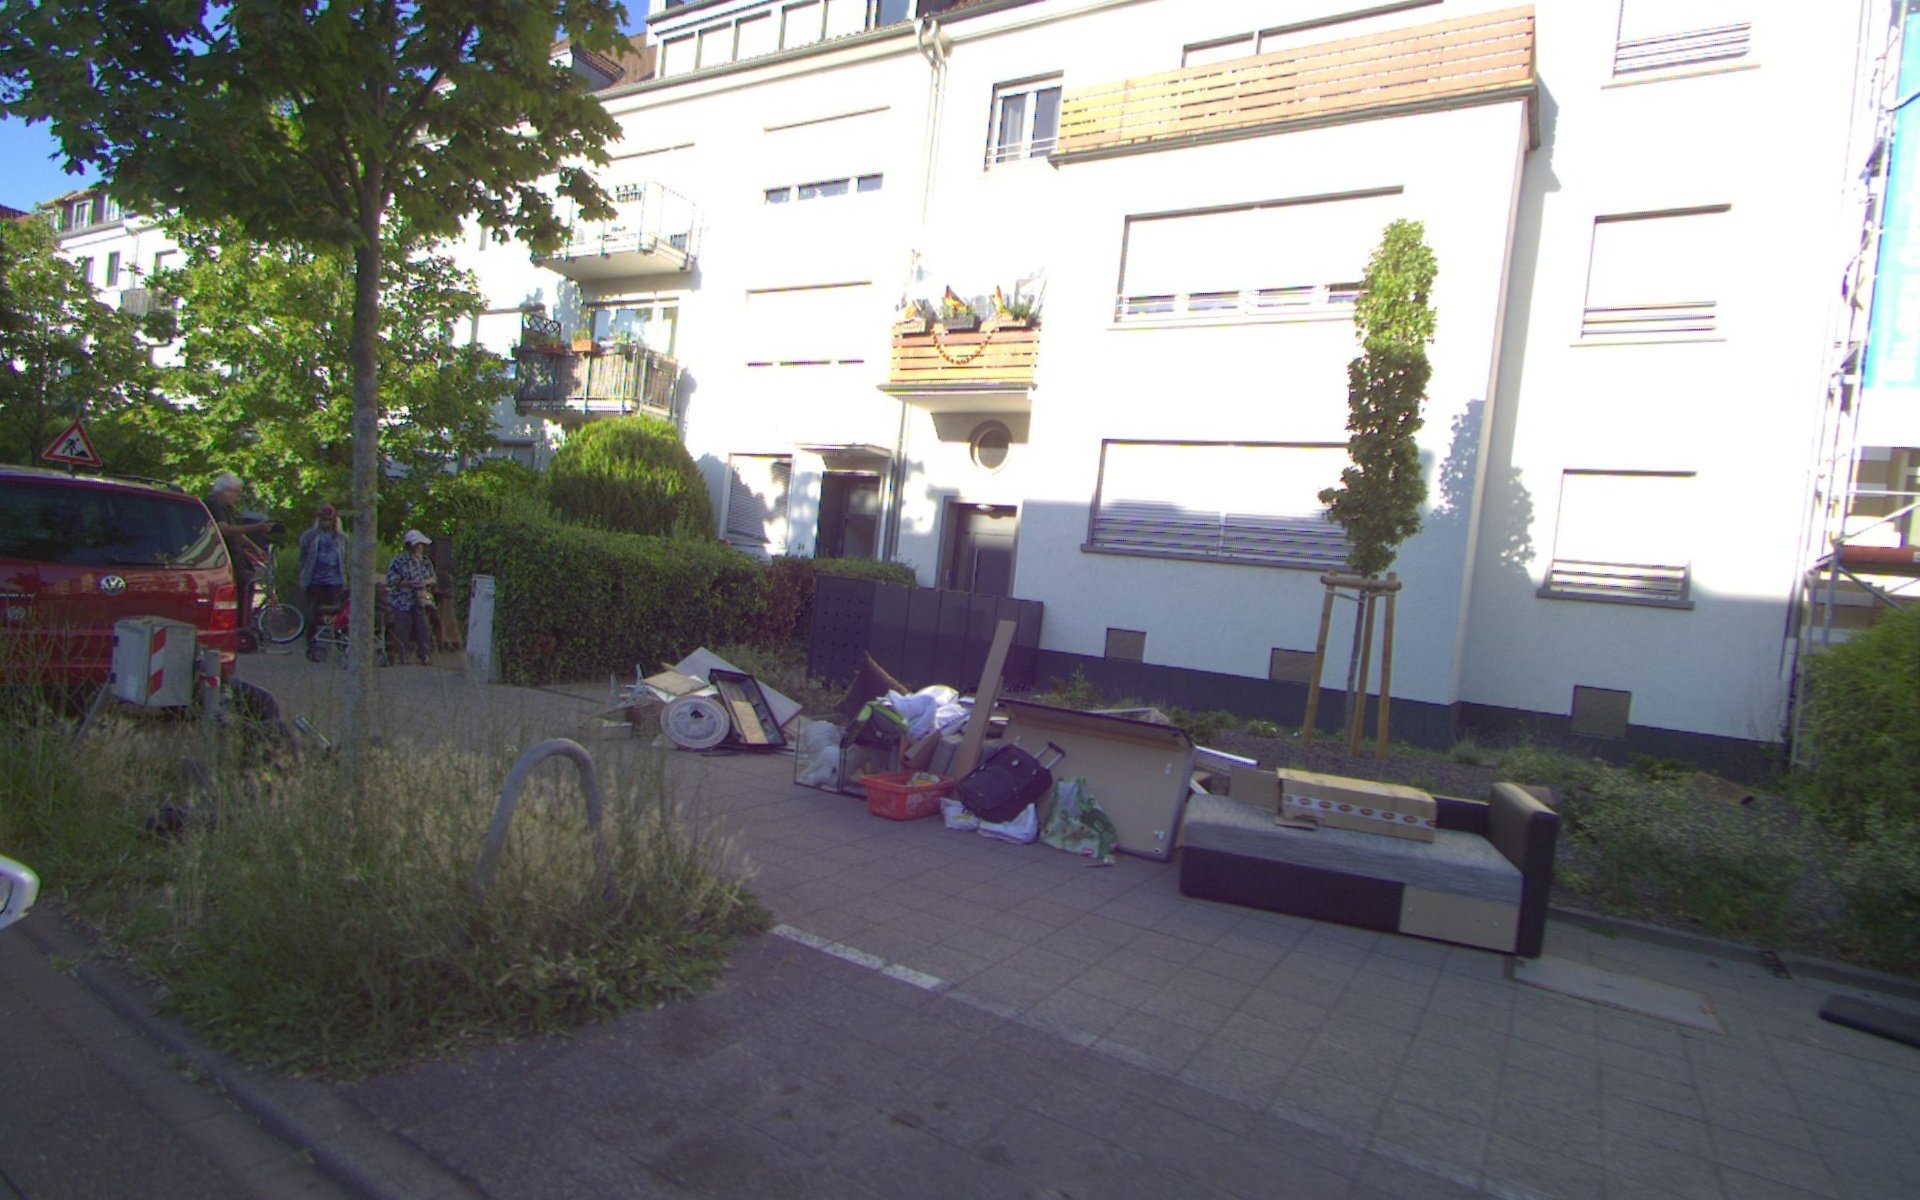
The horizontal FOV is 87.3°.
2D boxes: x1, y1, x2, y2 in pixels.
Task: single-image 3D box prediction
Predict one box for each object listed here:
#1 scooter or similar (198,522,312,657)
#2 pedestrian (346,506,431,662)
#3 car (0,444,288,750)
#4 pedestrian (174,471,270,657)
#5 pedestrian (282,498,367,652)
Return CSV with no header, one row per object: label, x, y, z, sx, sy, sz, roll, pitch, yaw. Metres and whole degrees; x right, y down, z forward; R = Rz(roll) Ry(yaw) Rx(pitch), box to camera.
scooter or similar,-7.587,-0.107,10.833,0.710,1.334,0.746,7,1,38
pedestrian,-6.575,-0.176,11.584,0.518,1.718,0.511,7,1,27
car,-6.956,-0.191,7.076,4.519,1.676,1.725,6,0,29
pedestrian,-7.756,-0.376,10.573,0.753,1.874,0.547,7,3,38
pedestrian,-7.380,-0.282,11.685,0.518,1.718,0.511,7,1,27
